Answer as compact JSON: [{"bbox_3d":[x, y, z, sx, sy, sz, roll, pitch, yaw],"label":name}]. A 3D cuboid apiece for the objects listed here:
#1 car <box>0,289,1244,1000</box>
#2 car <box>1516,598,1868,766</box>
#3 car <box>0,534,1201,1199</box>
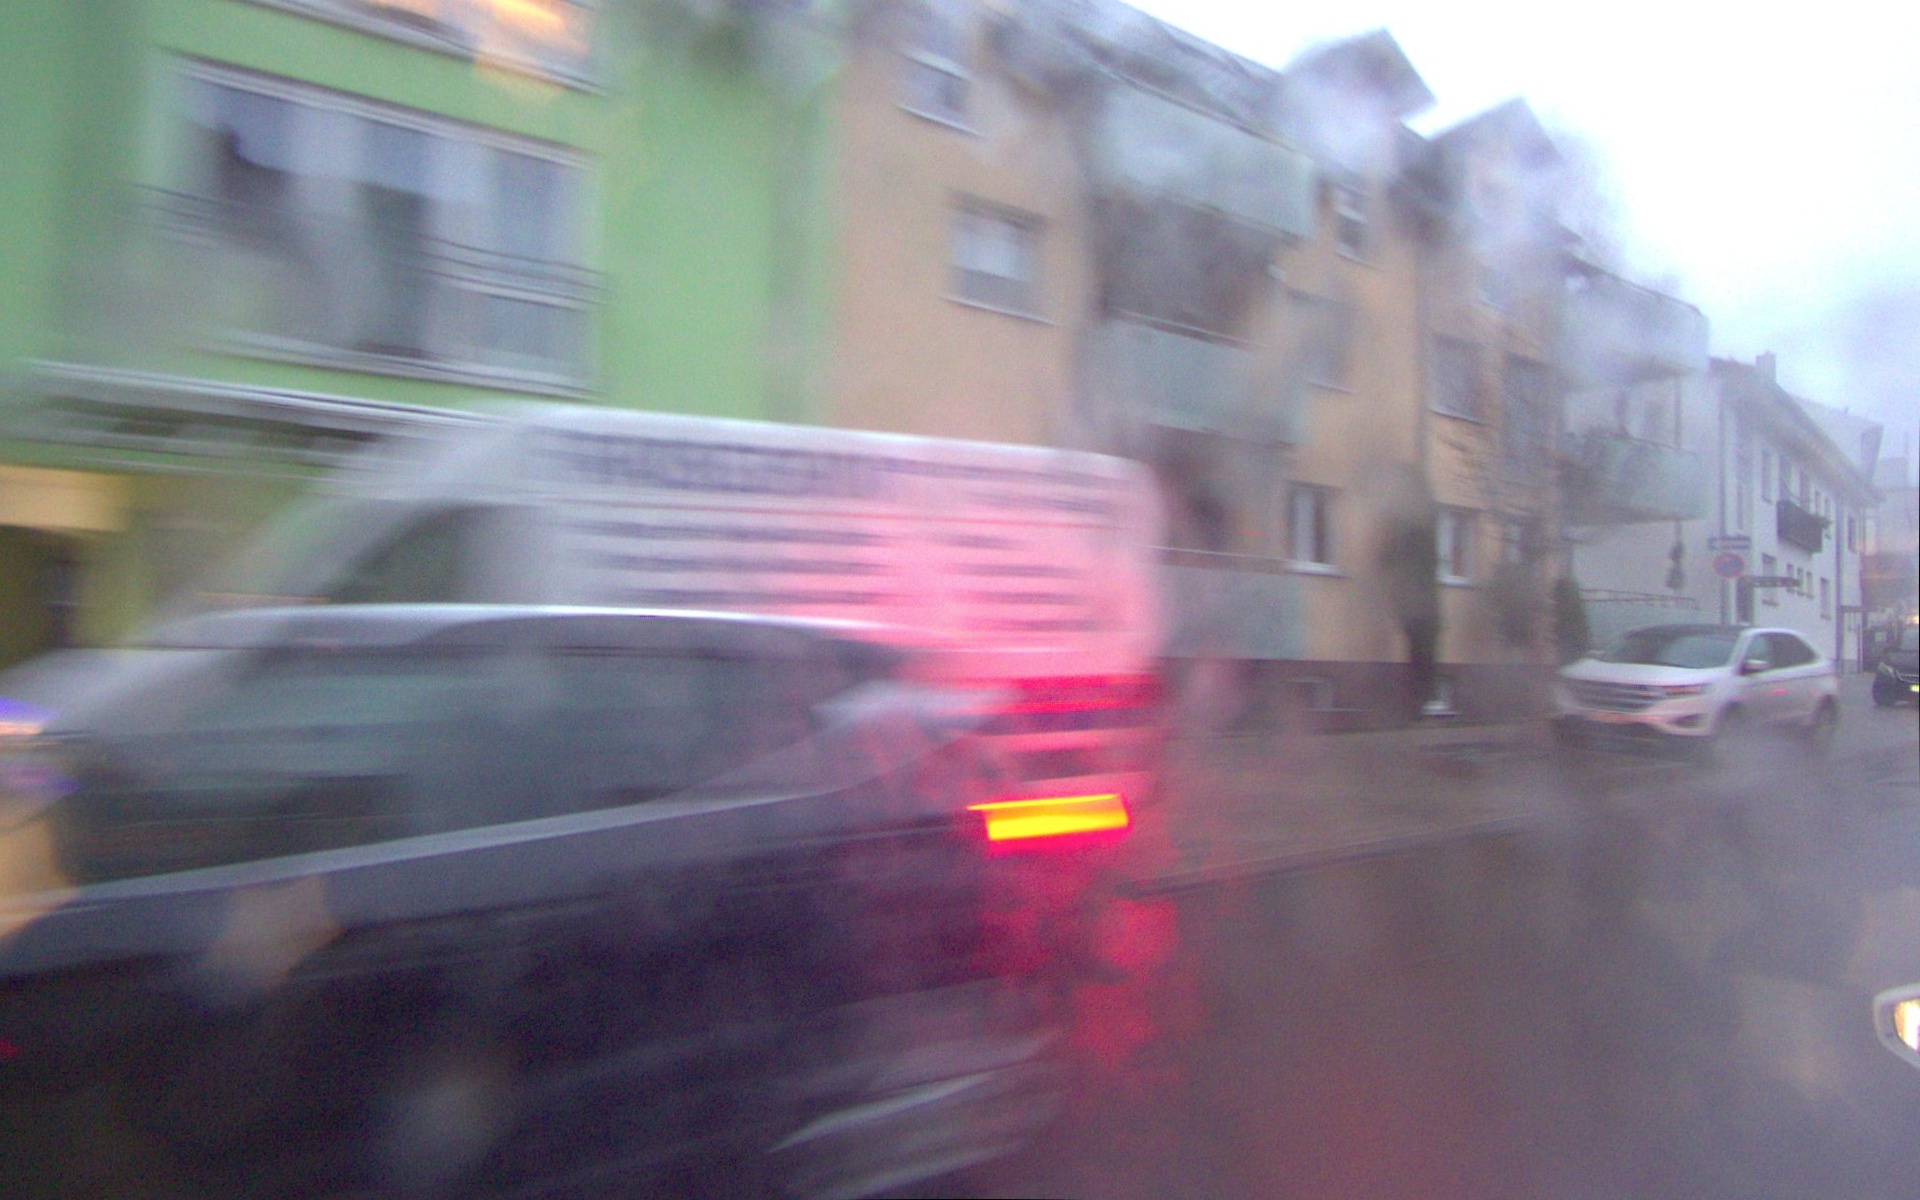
[{"bbox_3d":[-1.744,0.257,5.963,6.674,2.594,2.476,2,-1,-27],"label":"car"},{"bbox_3d":[9.869,0.987,13.414,5.244,1.868,1.983,2,-1,-32],"label":"car"},{"bbox_3d":[-1.560,0.751,2.750,4.177,1.585,1.909,2,-4,-30],"label":"car"}]
